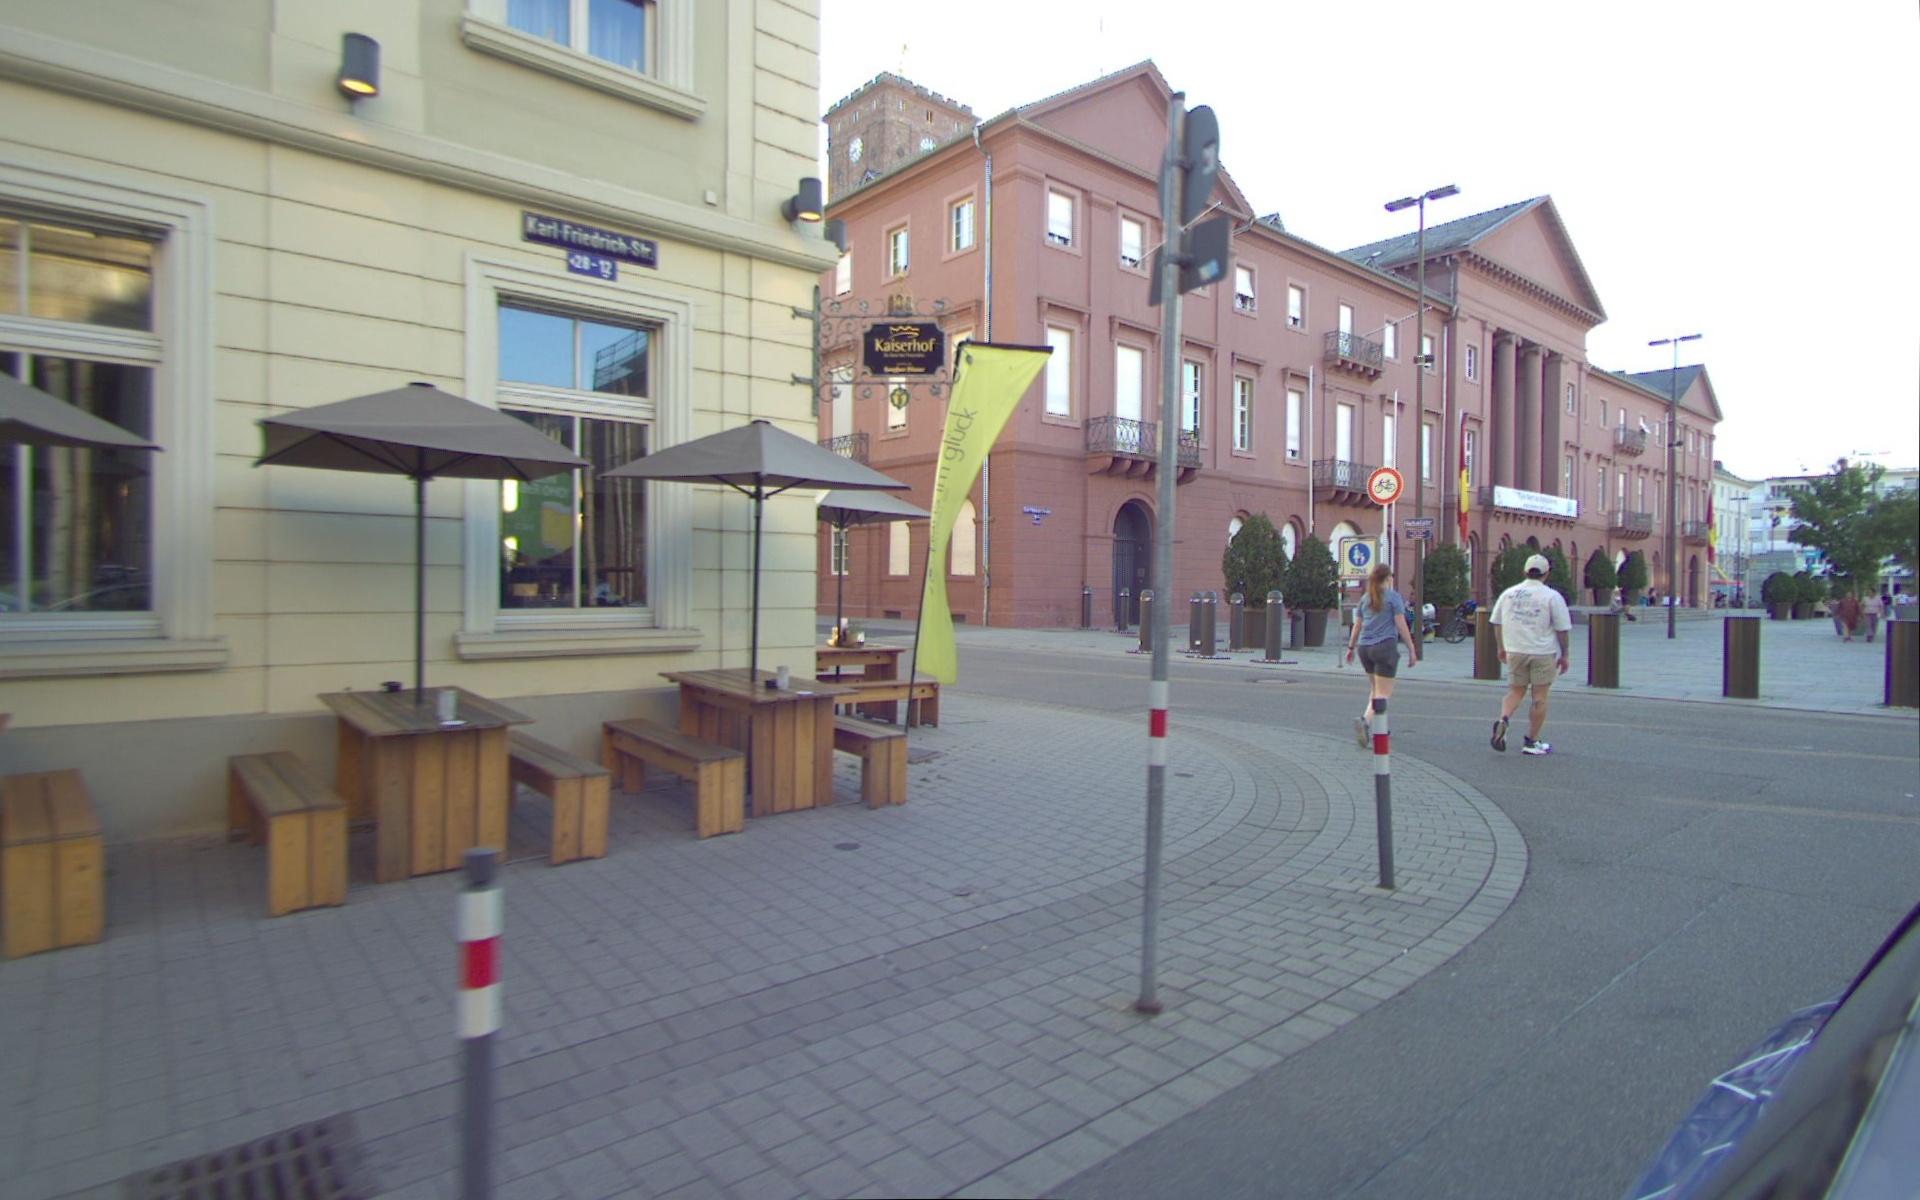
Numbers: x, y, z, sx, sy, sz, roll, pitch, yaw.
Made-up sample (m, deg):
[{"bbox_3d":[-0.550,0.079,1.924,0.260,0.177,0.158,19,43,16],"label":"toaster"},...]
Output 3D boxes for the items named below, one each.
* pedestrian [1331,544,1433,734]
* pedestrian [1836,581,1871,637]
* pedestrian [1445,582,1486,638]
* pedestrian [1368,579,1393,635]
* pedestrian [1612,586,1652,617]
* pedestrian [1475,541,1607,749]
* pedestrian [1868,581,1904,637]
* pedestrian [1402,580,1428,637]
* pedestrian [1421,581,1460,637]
[{"bbox_3d":[4.003,0.352,9.643,0.705,1.751,0.609,0,1,3],"label":"pedestrian"},{"bbox_3d":[26.005,0.252,29.466,0.641,1.586,0.683,0,1,-42],"label":"pedestrian"},{"bbox_3d":[13.614,0.258,27.270,0.572,1.466,0.832,0,1,-9],"label":"pedestrian"},{"bbox_3d":[11.219,0.174,27.033,0.577,1.466,0.825,1,1,21],"label":"pedestrian"},{"bbox_3d":[29.382,0.054,44.246,1.397,1.278,1.309,1,1,37],"label":"pedestrian"},{"bbox_3d":[5.079,0.368,8.887,0.752,1.751,0.668,0,1,3],"label":"pedestrian"},{"bbox_3d":[26.472,0.249,28.919,0.641,1.578,0.683,0,1,-42],"label":"pedestrian"},{"bbox_3d":[12.058,0.219,26.832,0.577,1.466,0.825,1,1,21],"label":"pedestrian"},{"bbox_3d":[12.785,0.238,26.955,0.572,1.466,0.832,0,1,-7],"label":"pedestrian"}]
